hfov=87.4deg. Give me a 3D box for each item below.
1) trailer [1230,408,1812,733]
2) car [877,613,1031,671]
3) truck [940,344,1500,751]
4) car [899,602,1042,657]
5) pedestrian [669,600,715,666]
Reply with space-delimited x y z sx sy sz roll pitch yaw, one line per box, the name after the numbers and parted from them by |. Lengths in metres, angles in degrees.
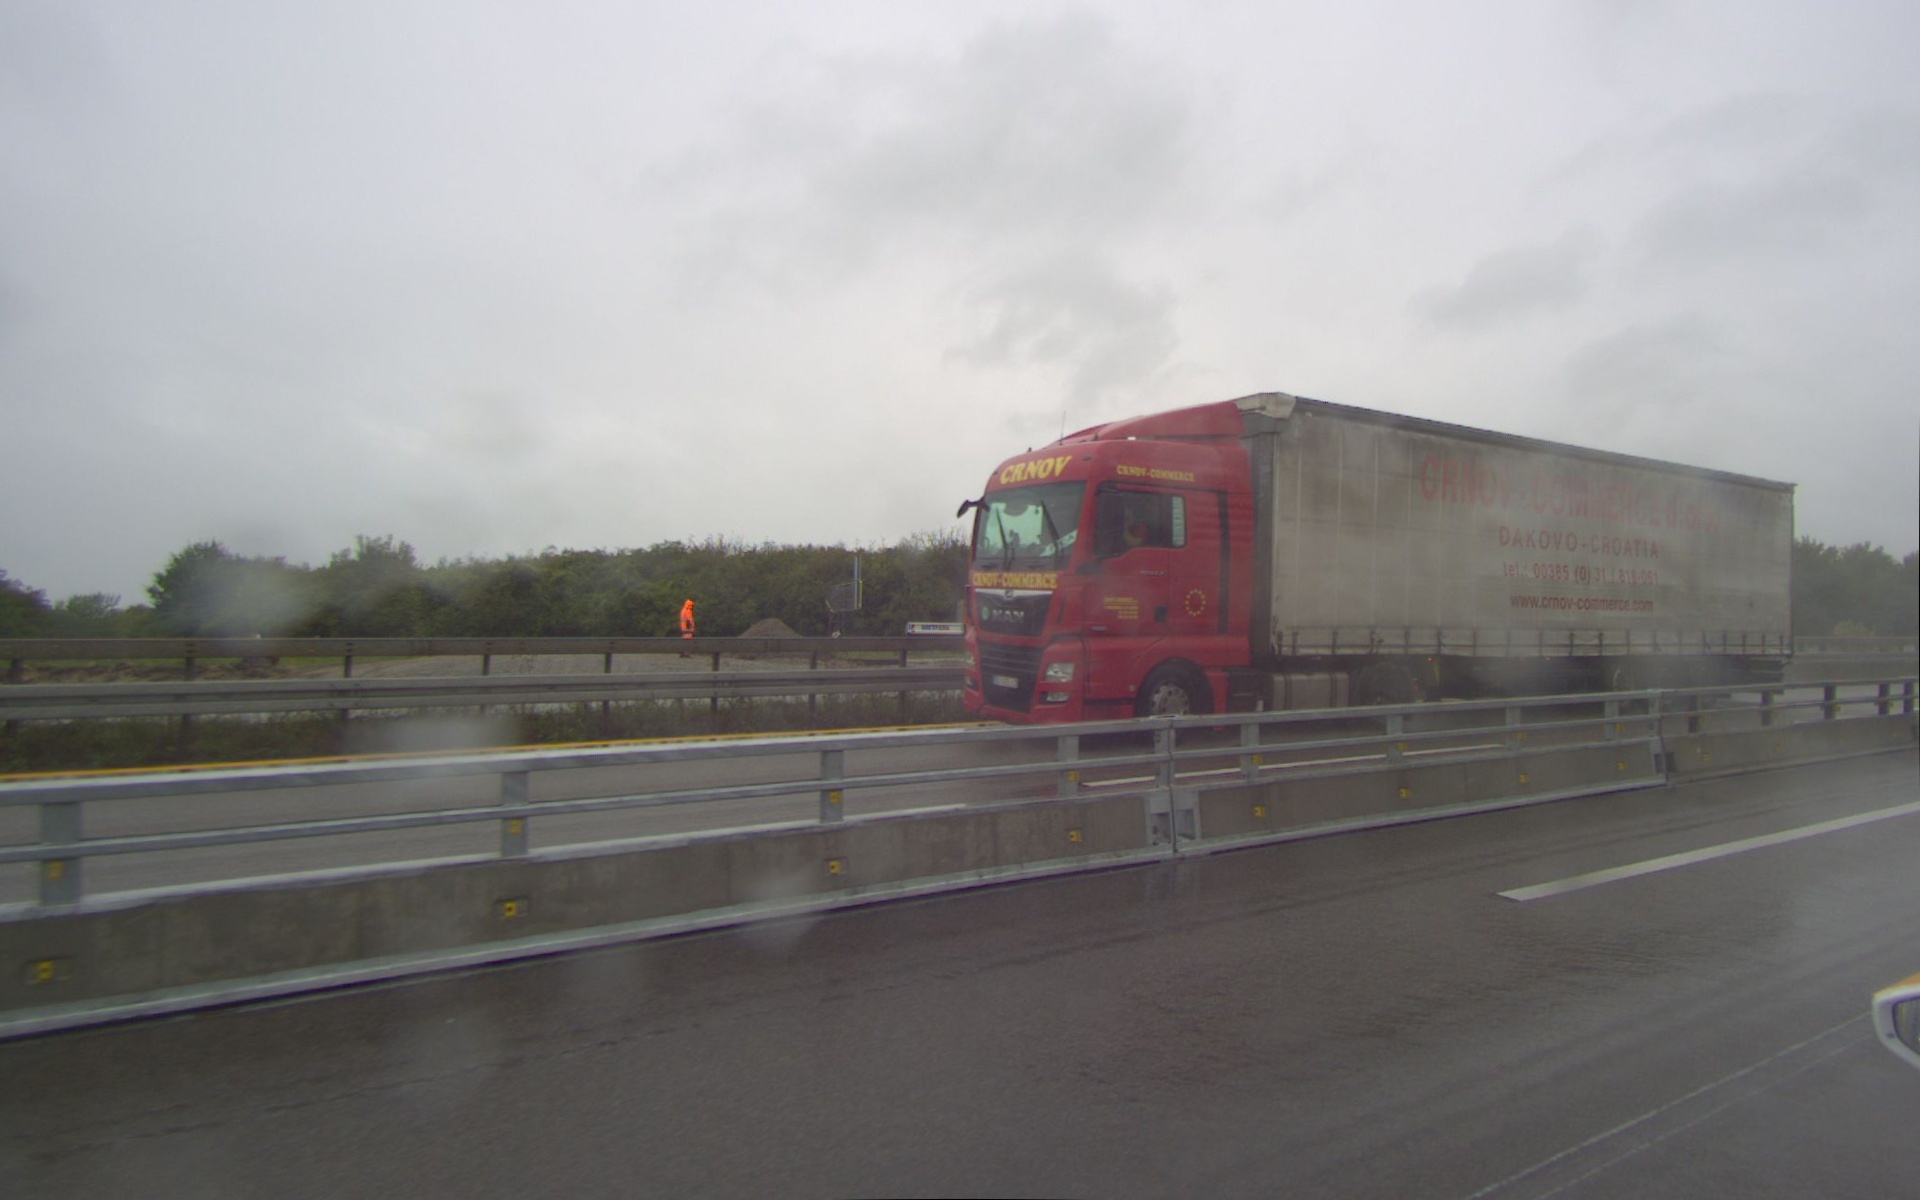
9.775 -0.254 16.592 11.784 4.060 2.601 1 0 -30 | trailer
-0.173 1.487 36.624 5.301 1.992 2.084 1 -1 -30 | car
3.553 -0.452 13.046 7.198 4.102 2.630 2 0 -30 | truck
0.380 1.169 40.475 5.476 2.103 2.367 1 -1 -9 | car
-8.517 1.025 31.933 1.114 2.040 1.099 1 0 -32 | pedestrian
